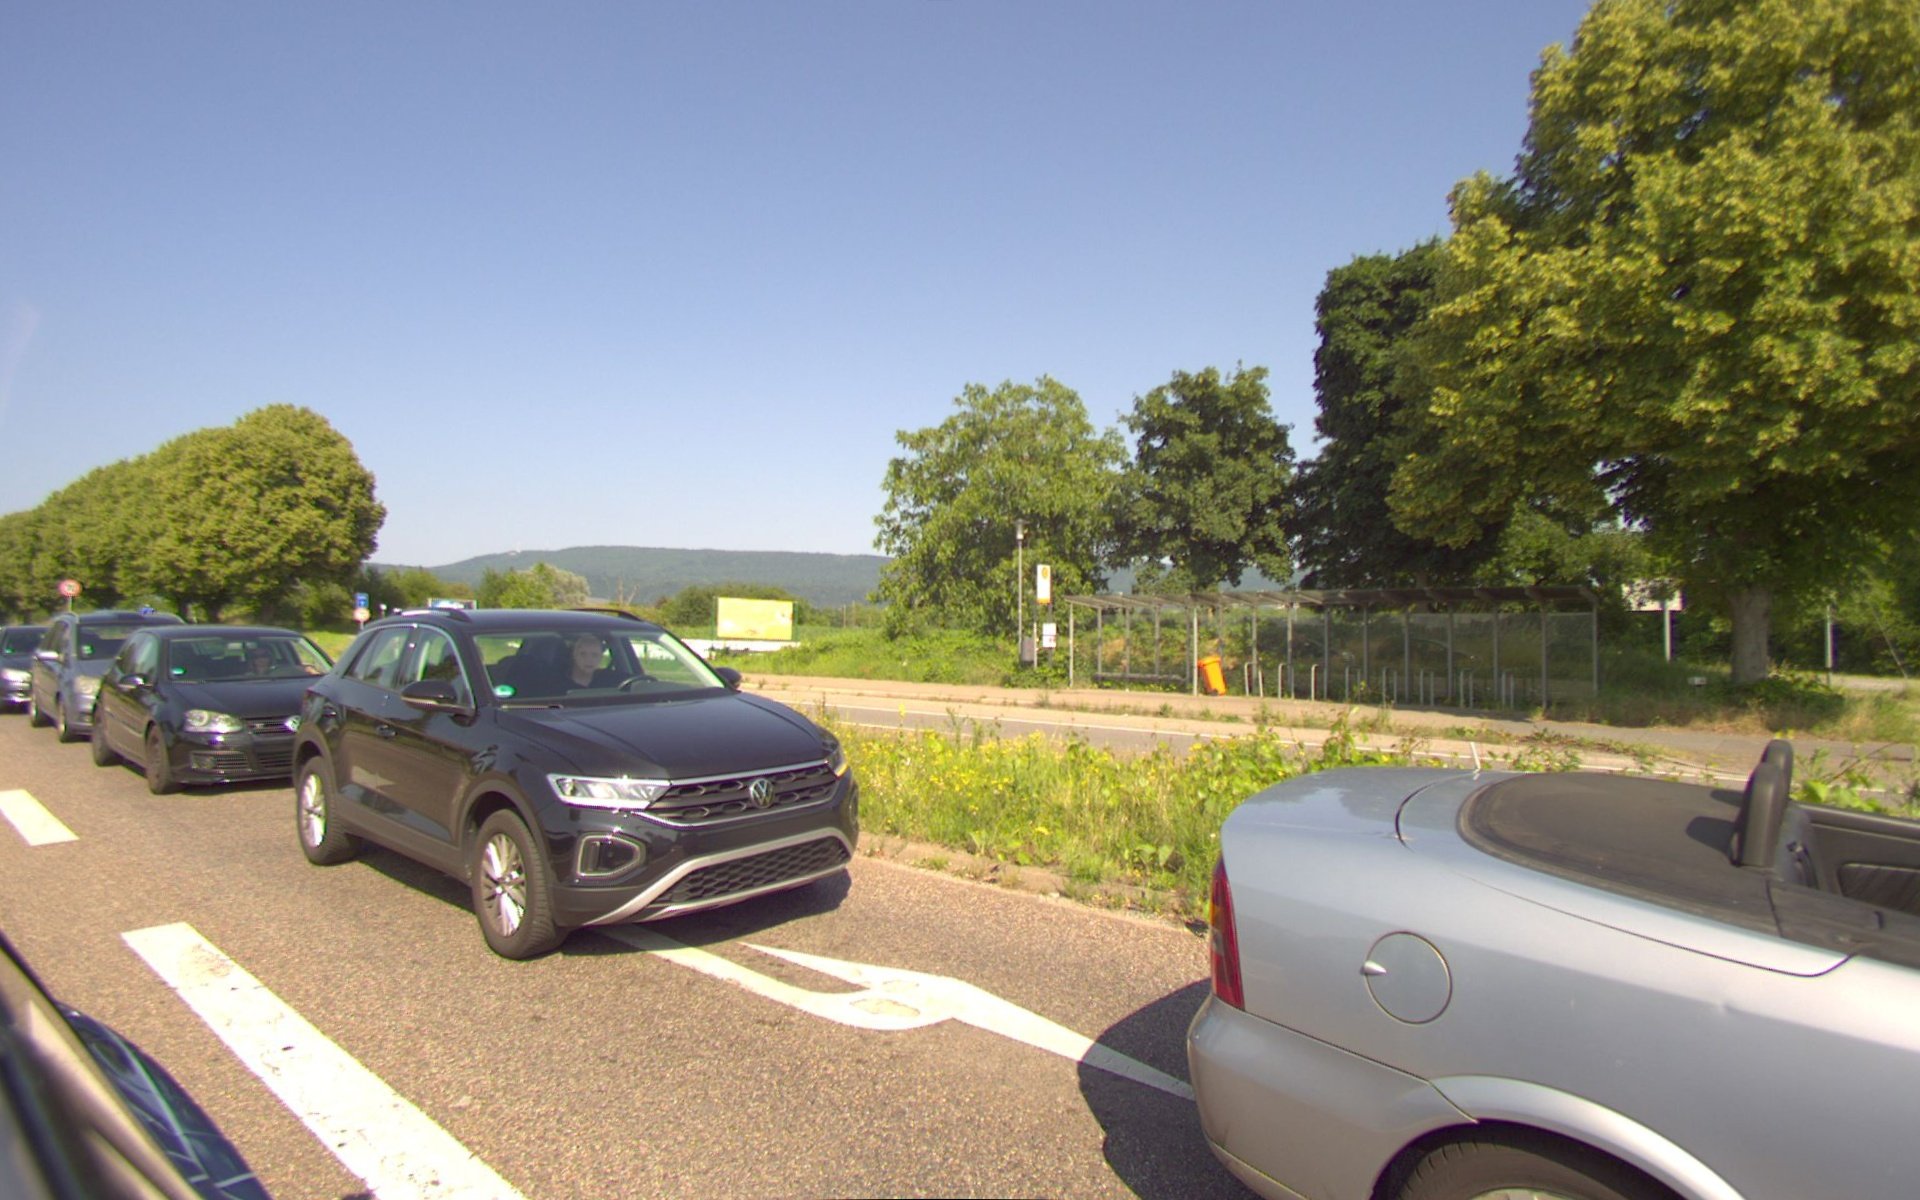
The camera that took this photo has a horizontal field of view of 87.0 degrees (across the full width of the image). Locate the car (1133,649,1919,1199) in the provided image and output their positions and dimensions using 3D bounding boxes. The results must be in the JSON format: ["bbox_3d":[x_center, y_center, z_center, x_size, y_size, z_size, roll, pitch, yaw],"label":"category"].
[{"bbox_3d":[2.443,0.776,1.435,4.096,1.345,1.656,-1,-3,42],"label":"car"}]

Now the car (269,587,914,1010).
[{"bbox_3d":[-2.322,0.788,5.761,4.096,1.559,1.710,-2,-2,42],"label":"car"}]

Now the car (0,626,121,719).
[{"bbox_3d":[-16.193,1.191,17.693,4.353,1.421,1.696,-2,-1,42],"label":"car"}]

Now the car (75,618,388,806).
[{"bbox_3d":[-7.319,0.945,10.014,4.096,1.486,1.648,-2,-2,42],"label":"car"}]

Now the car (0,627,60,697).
[{"bbox_3d":[-21.416,1.318,22.323,4.639,1.436,1.784,-1,-1,41],"label":"car"}]

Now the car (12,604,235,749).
[{"bbox_3d":[-11.597,0.948,13.925,4.355,1.685,1.723,-2,-2,42],"label":"car"}]
